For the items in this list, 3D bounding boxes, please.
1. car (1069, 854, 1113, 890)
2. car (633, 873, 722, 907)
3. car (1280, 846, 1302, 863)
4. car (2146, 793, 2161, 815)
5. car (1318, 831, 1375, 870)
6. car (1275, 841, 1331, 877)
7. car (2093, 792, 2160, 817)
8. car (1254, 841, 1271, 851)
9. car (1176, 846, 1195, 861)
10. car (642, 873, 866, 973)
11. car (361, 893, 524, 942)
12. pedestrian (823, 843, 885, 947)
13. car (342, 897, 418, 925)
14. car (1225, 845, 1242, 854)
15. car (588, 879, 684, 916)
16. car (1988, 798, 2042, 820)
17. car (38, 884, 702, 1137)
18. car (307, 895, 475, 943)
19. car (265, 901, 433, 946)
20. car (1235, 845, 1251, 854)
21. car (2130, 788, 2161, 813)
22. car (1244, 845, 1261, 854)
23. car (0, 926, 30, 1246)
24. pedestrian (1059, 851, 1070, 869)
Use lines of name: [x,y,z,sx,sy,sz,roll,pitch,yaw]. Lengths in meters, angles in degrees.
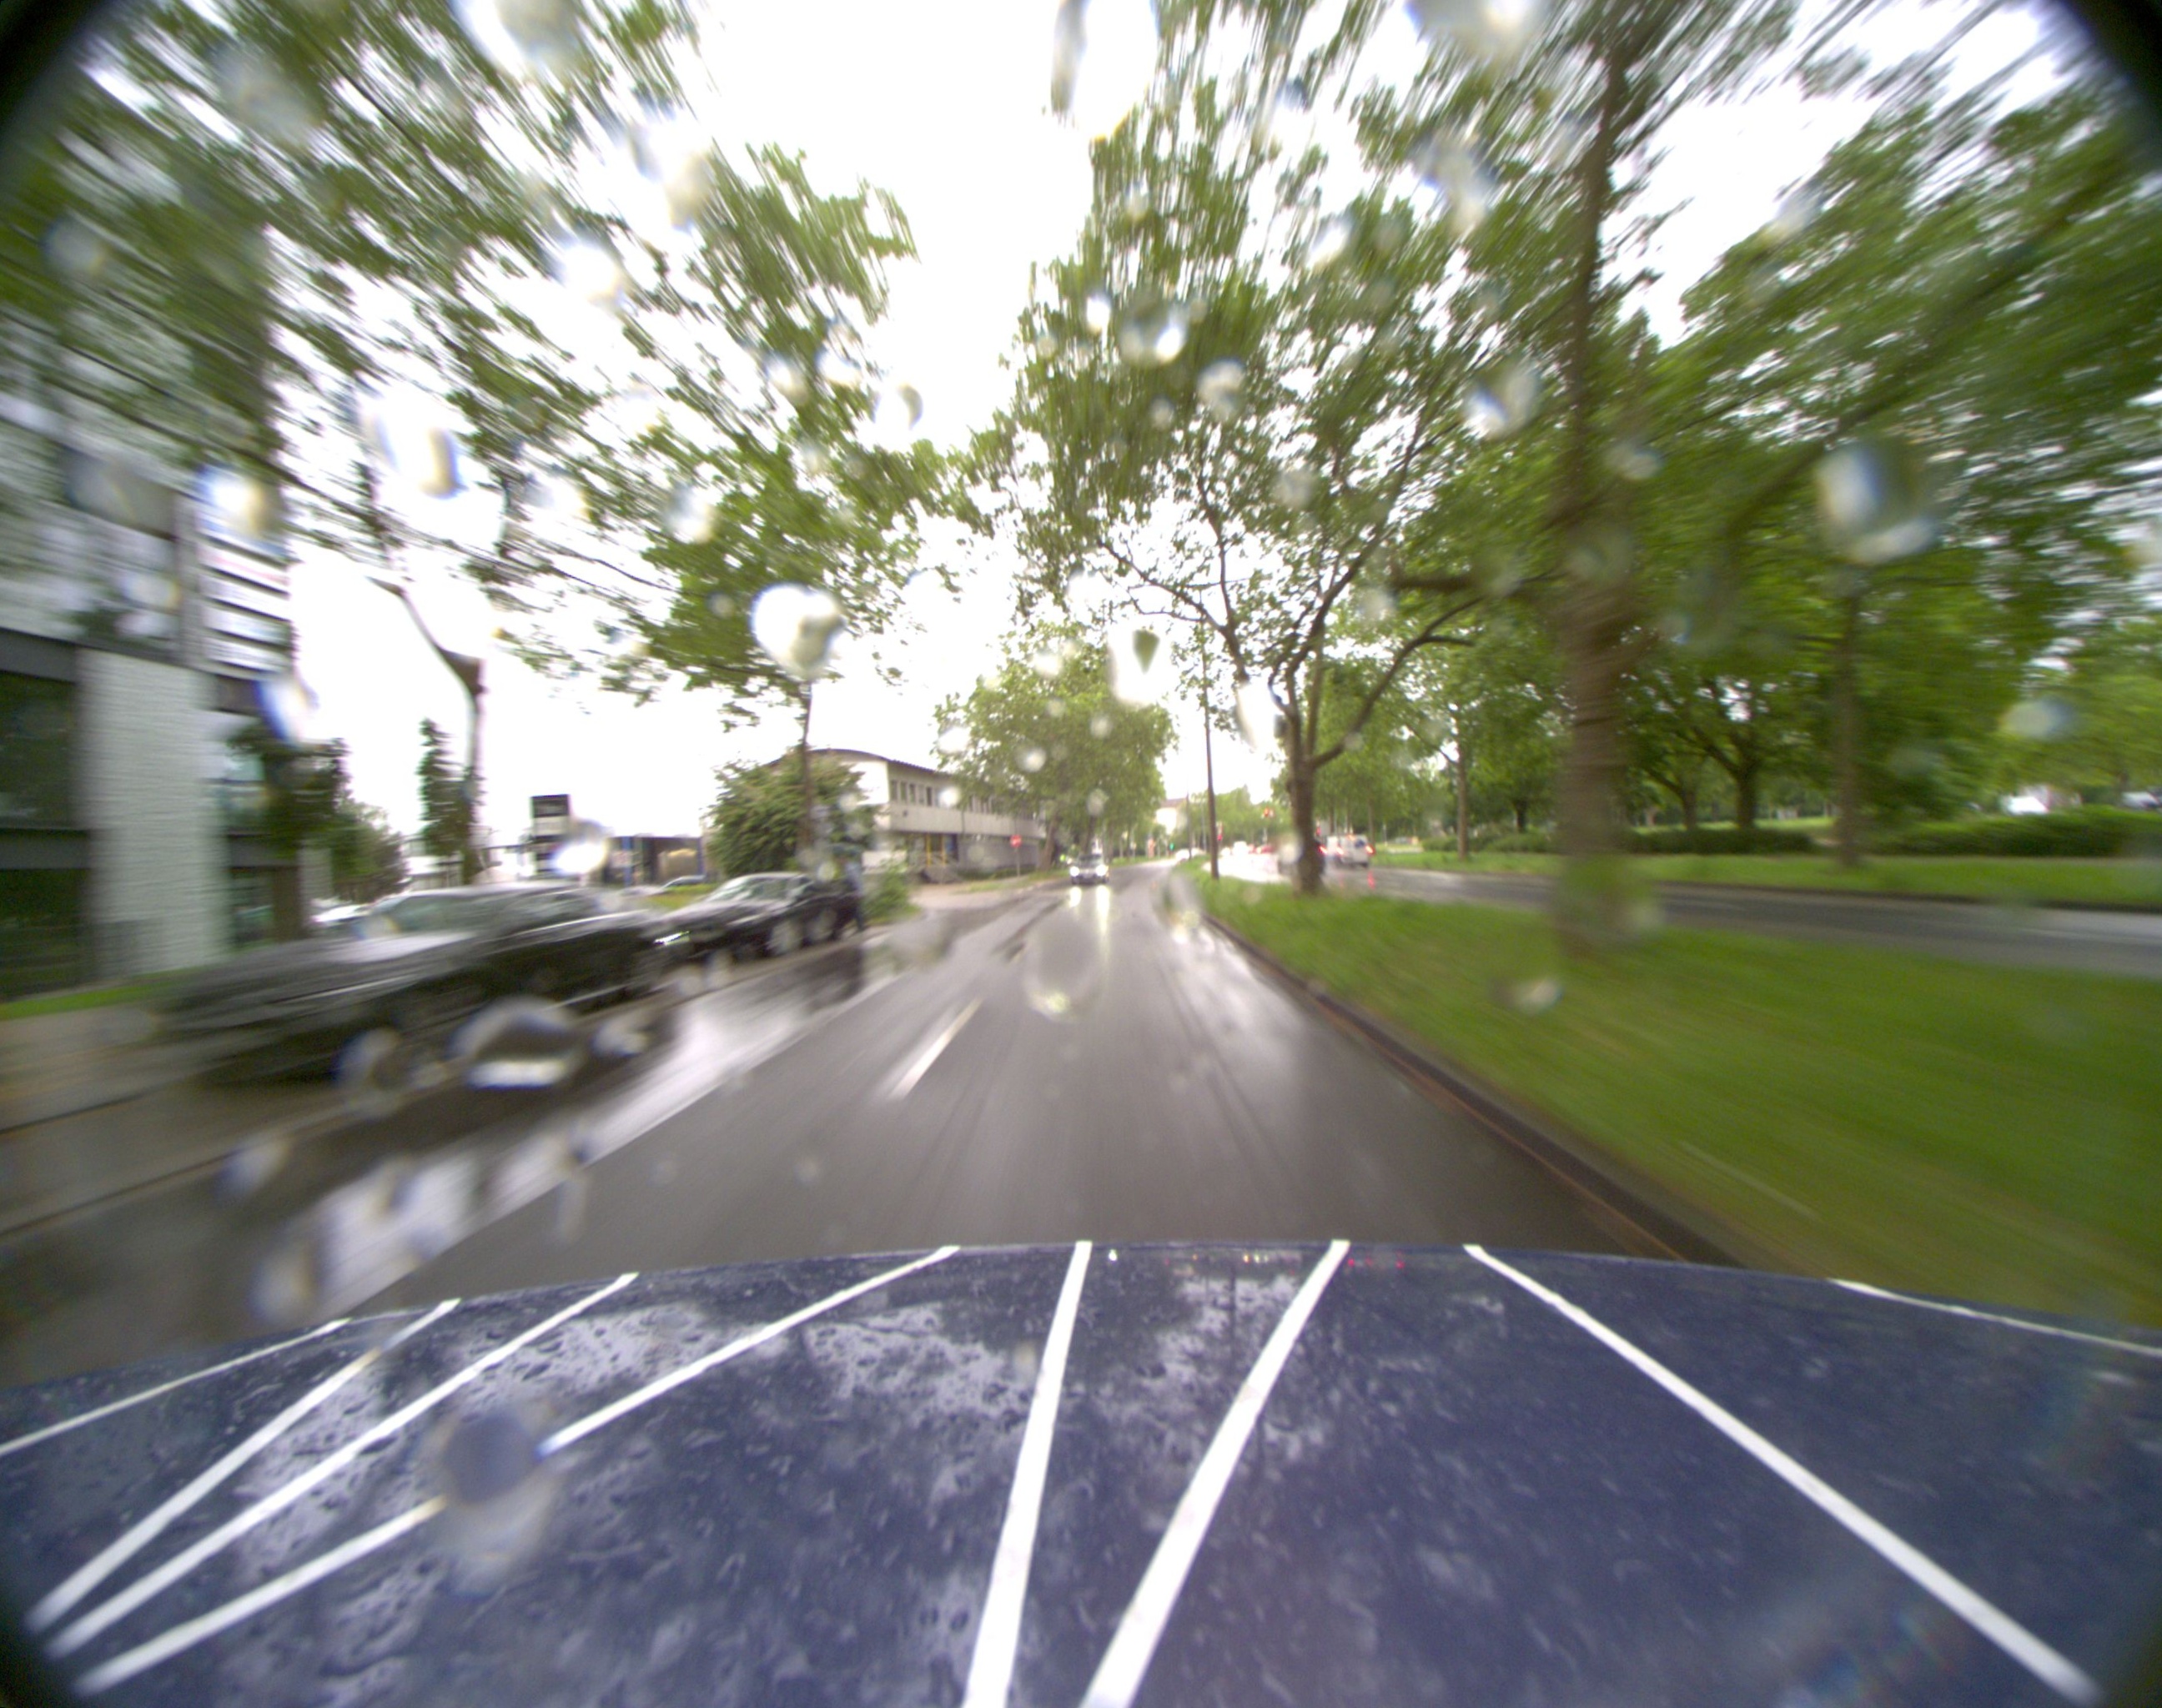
car: [0.615,0.896,40.421,1.998,1.585,5.591,-3,0,4]
car: [-24.308,2.145,45.913,1.889,1.522,4.183,-2,4,33]
car: [23.200,0.027,84.106,1.997,1.622,4.335,-3,0,12]
car: [77.129,-3.603,53.243,1.995,1.528,4.507,-3,0,43]
car: [16.281,-0.212,46.846,2.034,2.213,5.436,-3,0,6]
car: [11.874,0.233,40.994,2.034,1.726,4.957,-3,0,7]
car: [75.791,-3.576,55.134,1.995,1.528,4.507,-3,0,43]
car: [36.447,-1.626,152.627,1.995,1.876,4.529,-3,0,28]
car: [12.943,-0.088,94.198,1.997,1.620,4.525,-3,0,12]
car: [-5.804,1.147,14.287,1.747,1.420,4.861,-1,0,5]
car: [-25.900,2.535,31.076,1.890,1.521,4.736,-3,0,20]
pedestrian: [-4.590,0.806,15.381,0.901,2.002,0.831,-3,1,-34]
car: [-44.955,3.644,48.731,4.296,1.461,1.895,-3,3,24]
car: [29.631,-0.865,147.541,1.995,1.620,4.529,-3,0,26]
car: [-23.085,2.270,39.453,4.297,1.499,1.895,-4,4,21]
car: [72.565,-3.503,59.072,1.995,1.528,4.507,-3,0,43]
car: [-6.048,1.151,7.647,1.747,1.420,5.104,-3,0,1]
car: [-28.379,2.630,31.458,1.890,1.521,4.736,-4,-1,21]
car: [-31.020,2.906,32.415,1.889,1.404,4.737,-3,0,21]
car: [32.991,-0.882,155.006,1.995,1.620,4.529,-3,0,28]
car: [85.638,-4.317,60.222,1.995,1.891,4.507,-3,0,43]
car: [33.005,-0.909,146.396,1.995,1.620,4.529,-3,0,27]
car: [-5.976,1.120,1.584,1.747,1.467,4.083,-3,0,3]
pedestrian: [-1.666,0.593,76.049,0.832,1.685,0.900,-3,0,15]
